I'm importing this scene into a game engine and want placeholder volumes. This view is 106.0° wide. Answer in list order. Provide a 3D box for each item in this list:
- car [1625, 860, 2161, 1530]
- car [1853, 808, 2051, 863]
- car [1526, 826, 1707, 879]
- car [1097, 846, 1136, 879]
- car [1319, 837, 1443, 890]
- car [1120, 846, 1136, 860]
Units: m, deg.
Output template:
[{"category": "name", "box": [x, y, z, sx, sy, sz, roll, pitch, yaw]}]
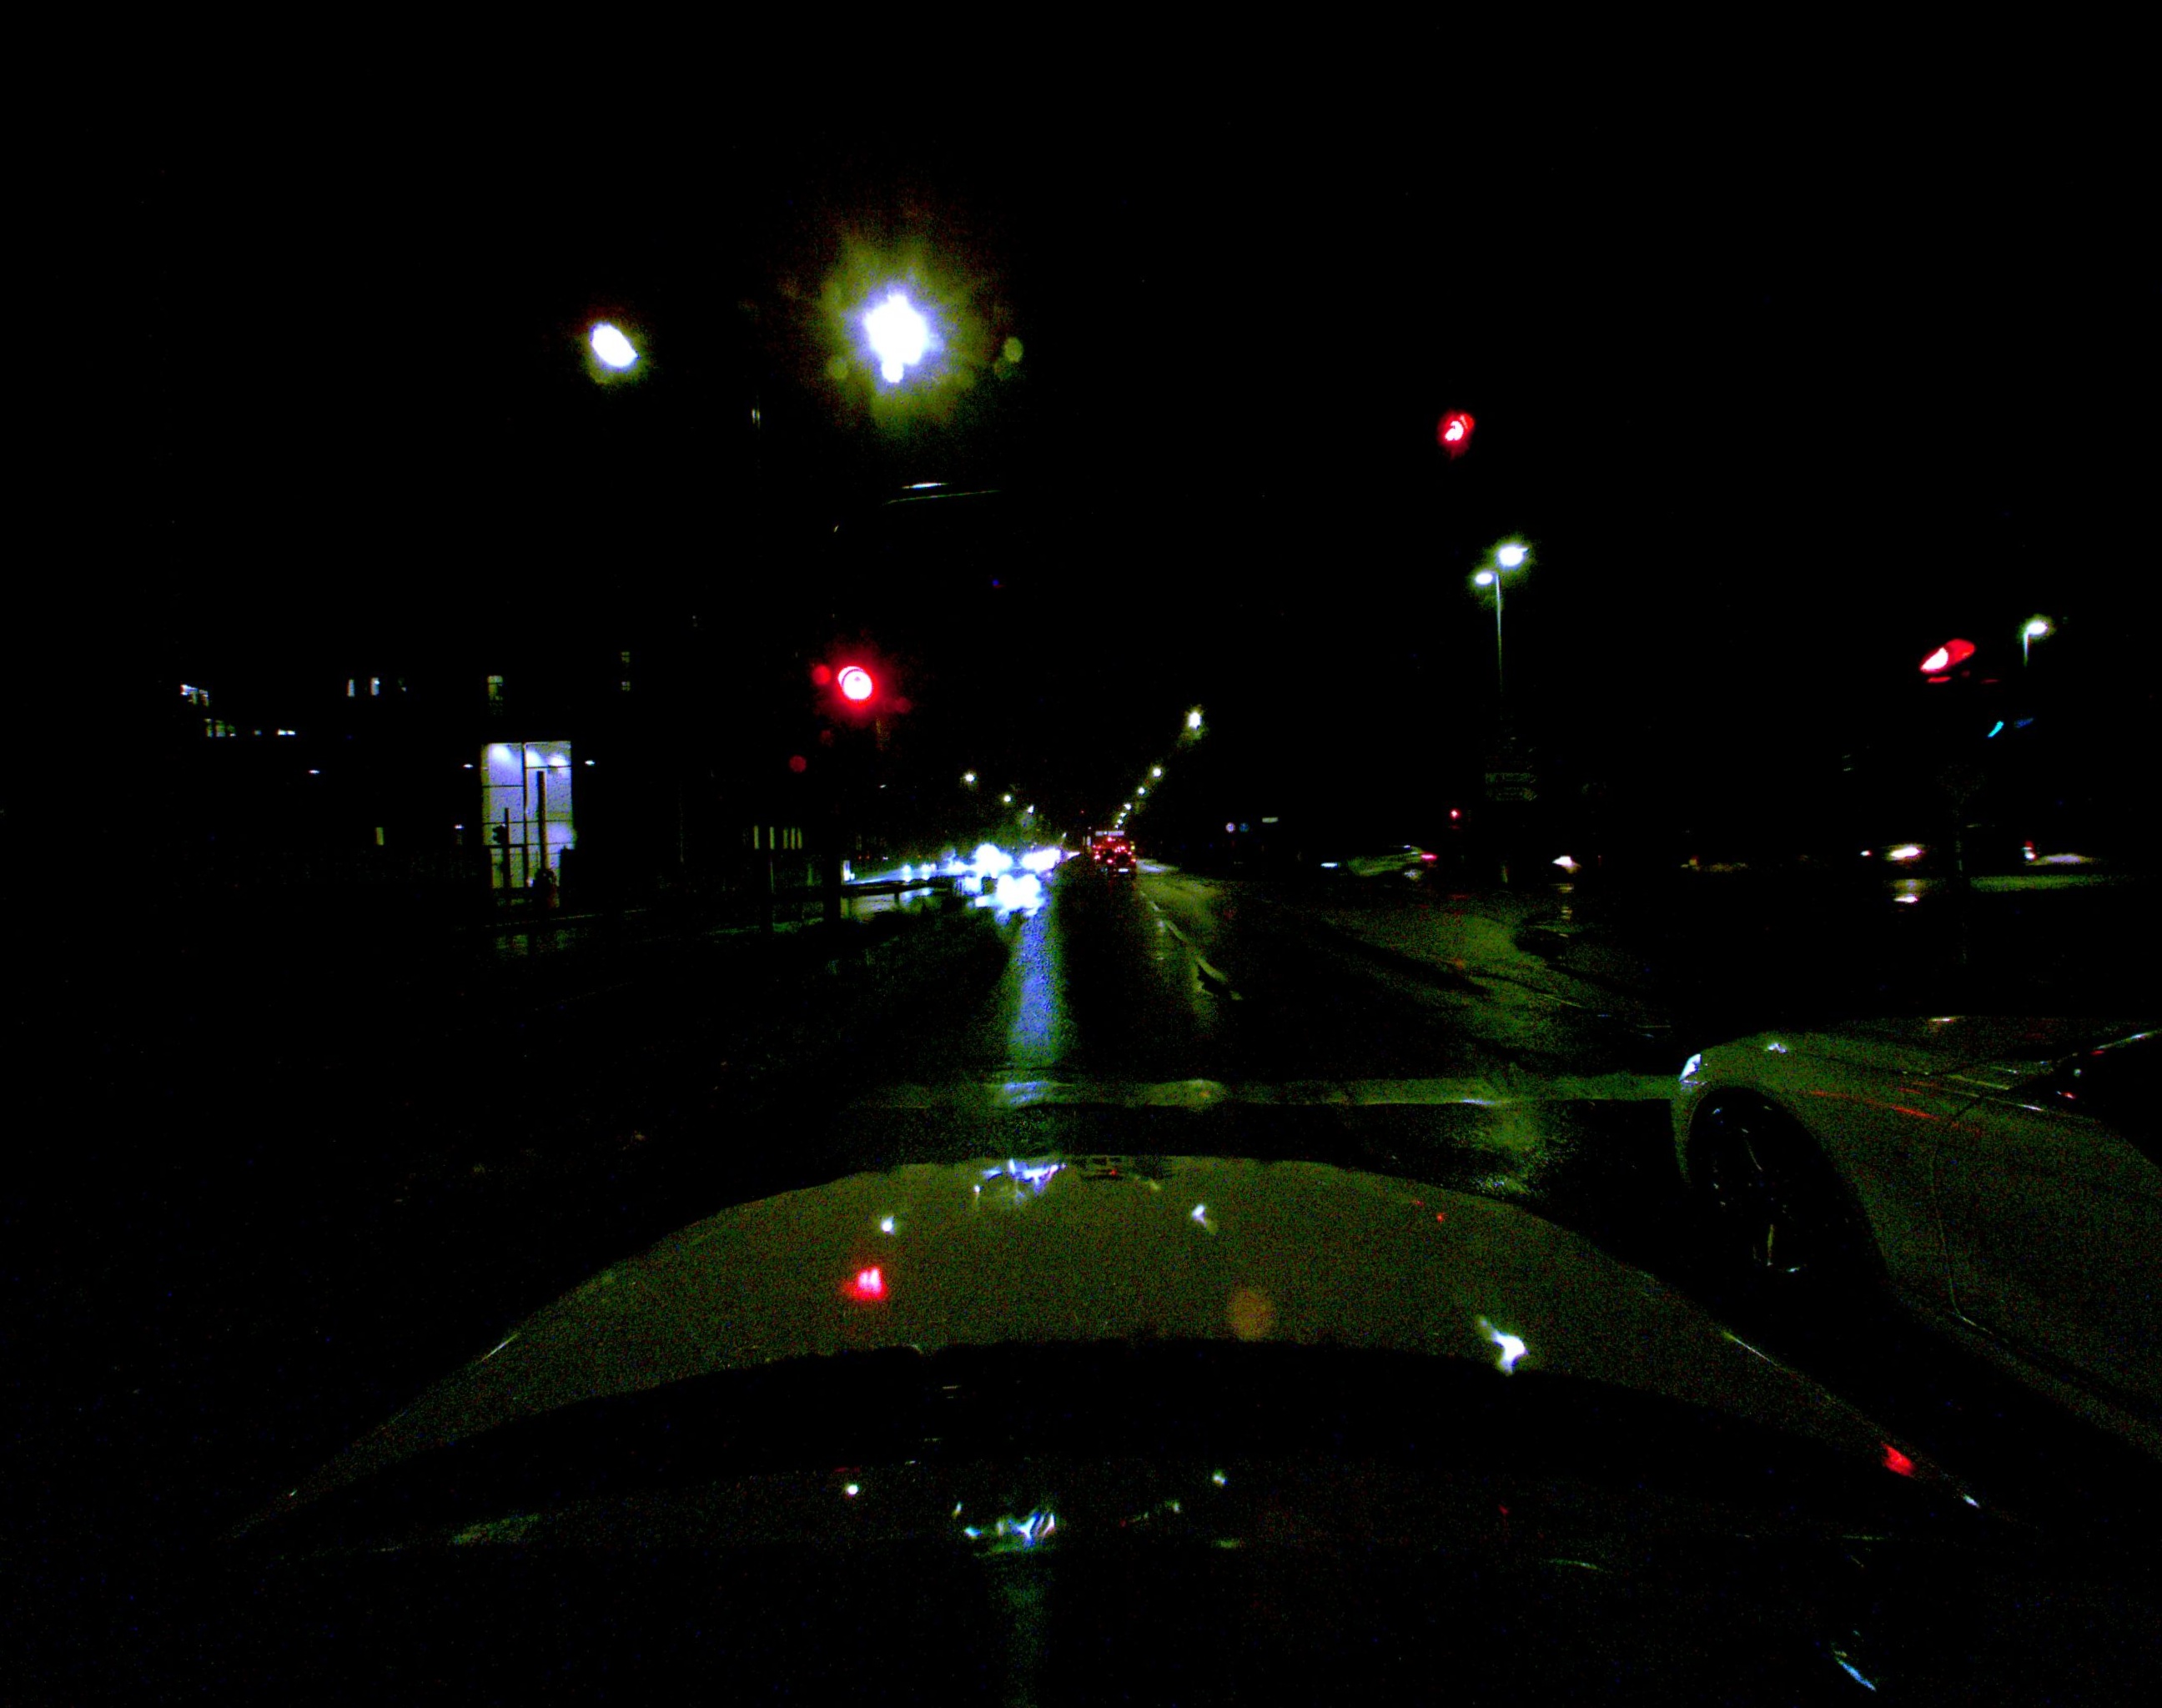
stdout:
[{"category": "car", "box": [3.122, 0.718, 1.295, 1.710, 1.404, 4.351, 0, 0, 2]}, {"category": "car", "box": [28.999, -0.586, 27.242, 4.362, 1.741, 1.913, 0, -1, 5]}, {"category": "car", "box": [18.493, -0.048, 28.333, 4.877, 1.741, 1.975, 0, -1, 6]}, {"category": "car", "box": [1.928, 0.457, 44.836, 1.986, 1.705, 4.634, 0, -1, 2]}, {"category": "car", "box": [12.045, 0.396, 32.951, 4.580, 2.014, 2.009, -1, -1, 18]}, {"category": "car", "box": [6.228, -0.103, 108.371, 1.986, 1.759, 4.001, 0, -1, 2]}]
